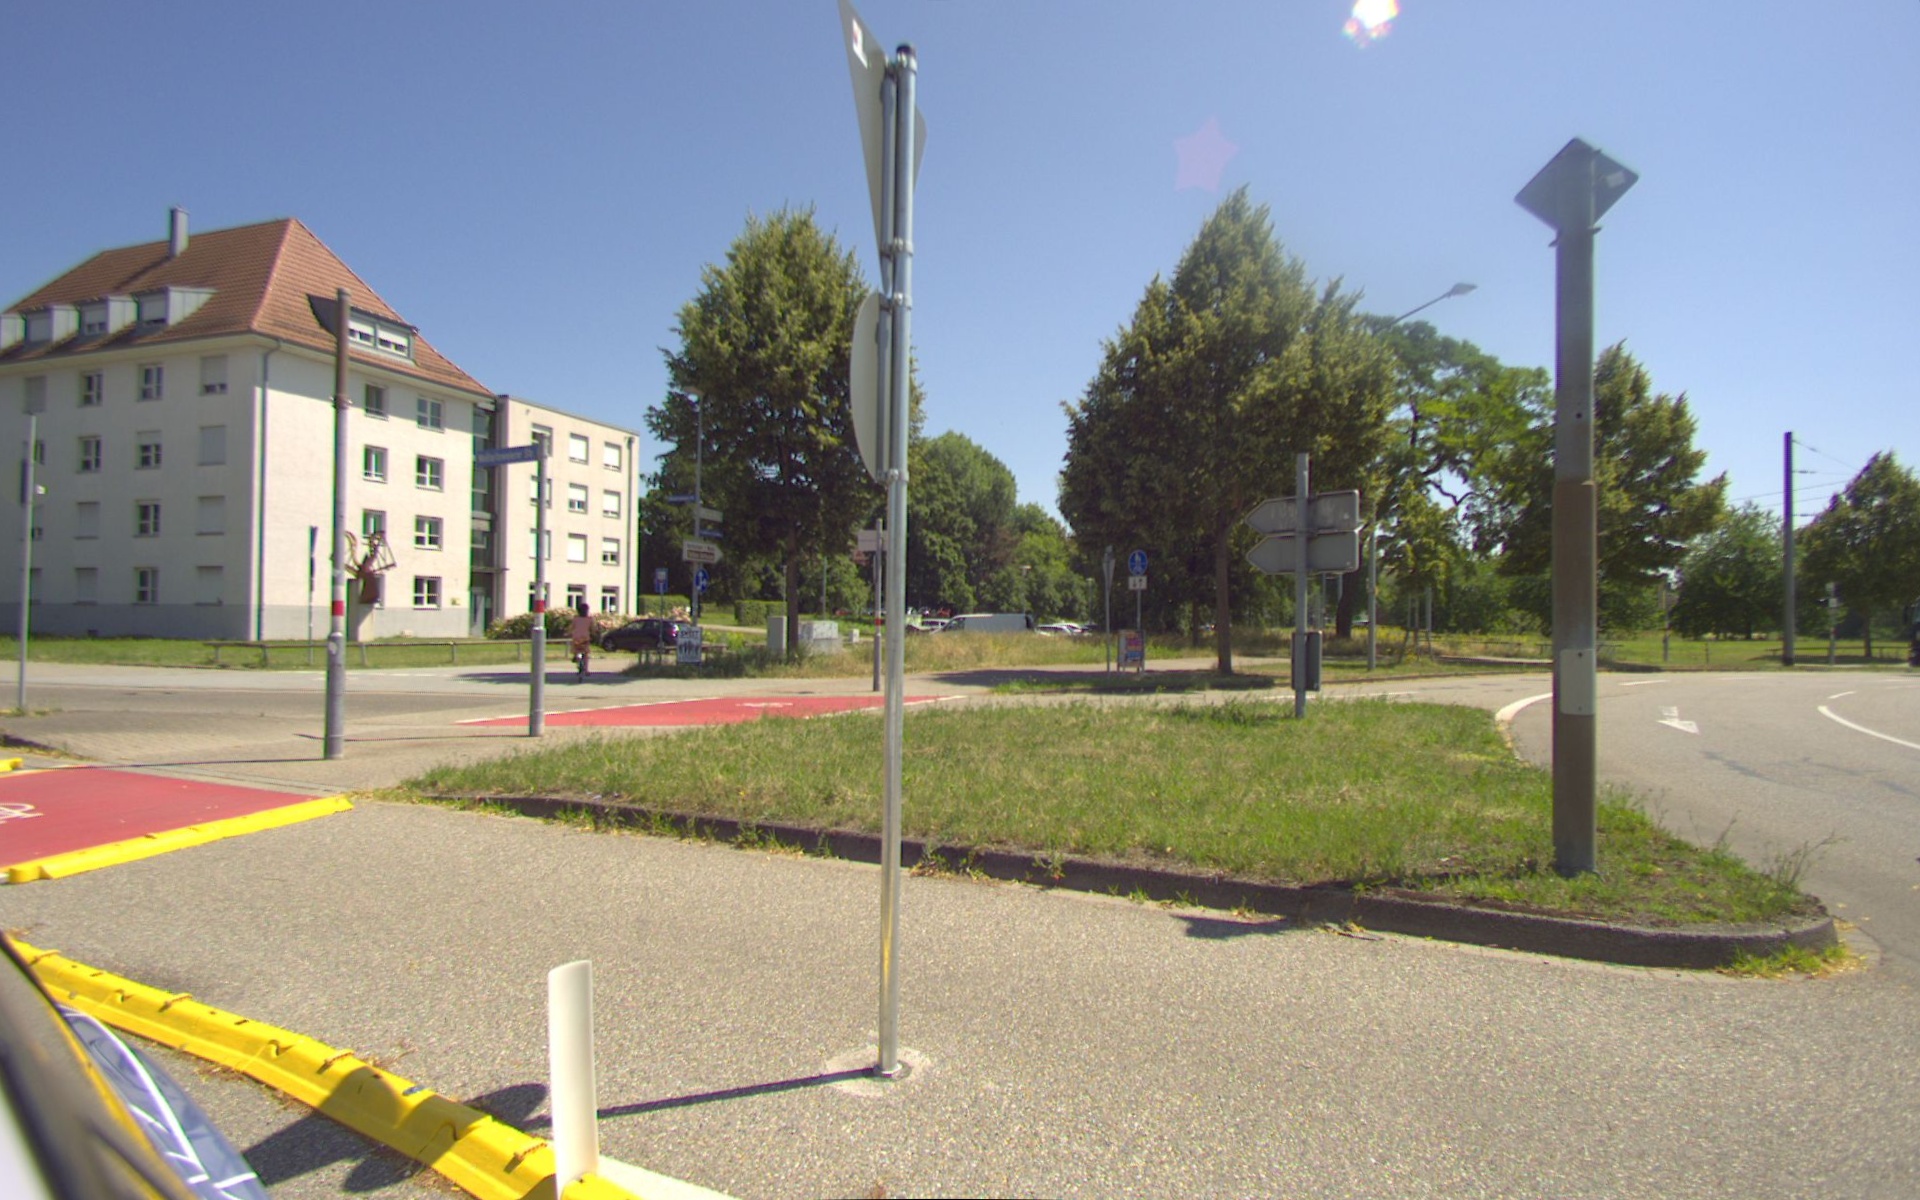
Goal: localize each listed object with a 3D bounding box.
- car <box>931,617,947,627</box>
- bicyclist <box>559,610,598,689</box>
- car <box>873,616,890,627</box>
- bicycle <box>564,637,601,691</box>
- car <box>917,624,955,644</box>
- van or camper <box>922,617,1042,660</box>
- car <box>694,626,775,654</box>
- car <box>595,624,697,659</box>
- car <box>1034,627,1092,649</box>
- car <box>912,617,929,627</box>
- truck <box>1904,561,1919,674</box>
[{"bbox_3d":[-2.856,2.989,137.348,1.465,1.427,3.013,0,-1,15],"label":"car"},{"bbox_3d":[-8.365,1.073,22.165,0.635,1.676,0.712,-2,0,-31],"label":"bicyclist"},{"bbox_3d":[-10.740,2.959,139.165,1.465,1.427,3.013,0,-1,15],"label":"car"},{"bbox_3d":[-8.201,1.352,21.965,0.432,1.066,2.095,0,-1,-29],"label":"bicycle"},{"bbox_3d":[-1.742,2.448,73.230,2.516,1.368,1.074,0,-1,27],"label":"car"},{"bbox_3d":[1.024,1.735,46.688,5.232,1.871,1.987,0,-2,20],"label":"van or camper"},{"bbox_3d":[-10.427,1.839,46.762,3.488,1.227,1.347,0,-2,21],"label":"car"},{"bbox_3d":[-12.784,1.665,41.212,3.779,1.337,1.648,0,-2,21],"label":"car"},{"bbox_3d":[6.414,2.367,62.869,3.366,1.291,1.344,0,-2,28],"label":"car"},{"bbox_3d":[-5.395,2.988,138.214,1.465,1.427,3.013,0,-1,15],"label":"car"},{"bbox_3d":[36.070,0.566,31.992,9.489,3.687,2.705,0,-1,3],"label":"truck"}]
